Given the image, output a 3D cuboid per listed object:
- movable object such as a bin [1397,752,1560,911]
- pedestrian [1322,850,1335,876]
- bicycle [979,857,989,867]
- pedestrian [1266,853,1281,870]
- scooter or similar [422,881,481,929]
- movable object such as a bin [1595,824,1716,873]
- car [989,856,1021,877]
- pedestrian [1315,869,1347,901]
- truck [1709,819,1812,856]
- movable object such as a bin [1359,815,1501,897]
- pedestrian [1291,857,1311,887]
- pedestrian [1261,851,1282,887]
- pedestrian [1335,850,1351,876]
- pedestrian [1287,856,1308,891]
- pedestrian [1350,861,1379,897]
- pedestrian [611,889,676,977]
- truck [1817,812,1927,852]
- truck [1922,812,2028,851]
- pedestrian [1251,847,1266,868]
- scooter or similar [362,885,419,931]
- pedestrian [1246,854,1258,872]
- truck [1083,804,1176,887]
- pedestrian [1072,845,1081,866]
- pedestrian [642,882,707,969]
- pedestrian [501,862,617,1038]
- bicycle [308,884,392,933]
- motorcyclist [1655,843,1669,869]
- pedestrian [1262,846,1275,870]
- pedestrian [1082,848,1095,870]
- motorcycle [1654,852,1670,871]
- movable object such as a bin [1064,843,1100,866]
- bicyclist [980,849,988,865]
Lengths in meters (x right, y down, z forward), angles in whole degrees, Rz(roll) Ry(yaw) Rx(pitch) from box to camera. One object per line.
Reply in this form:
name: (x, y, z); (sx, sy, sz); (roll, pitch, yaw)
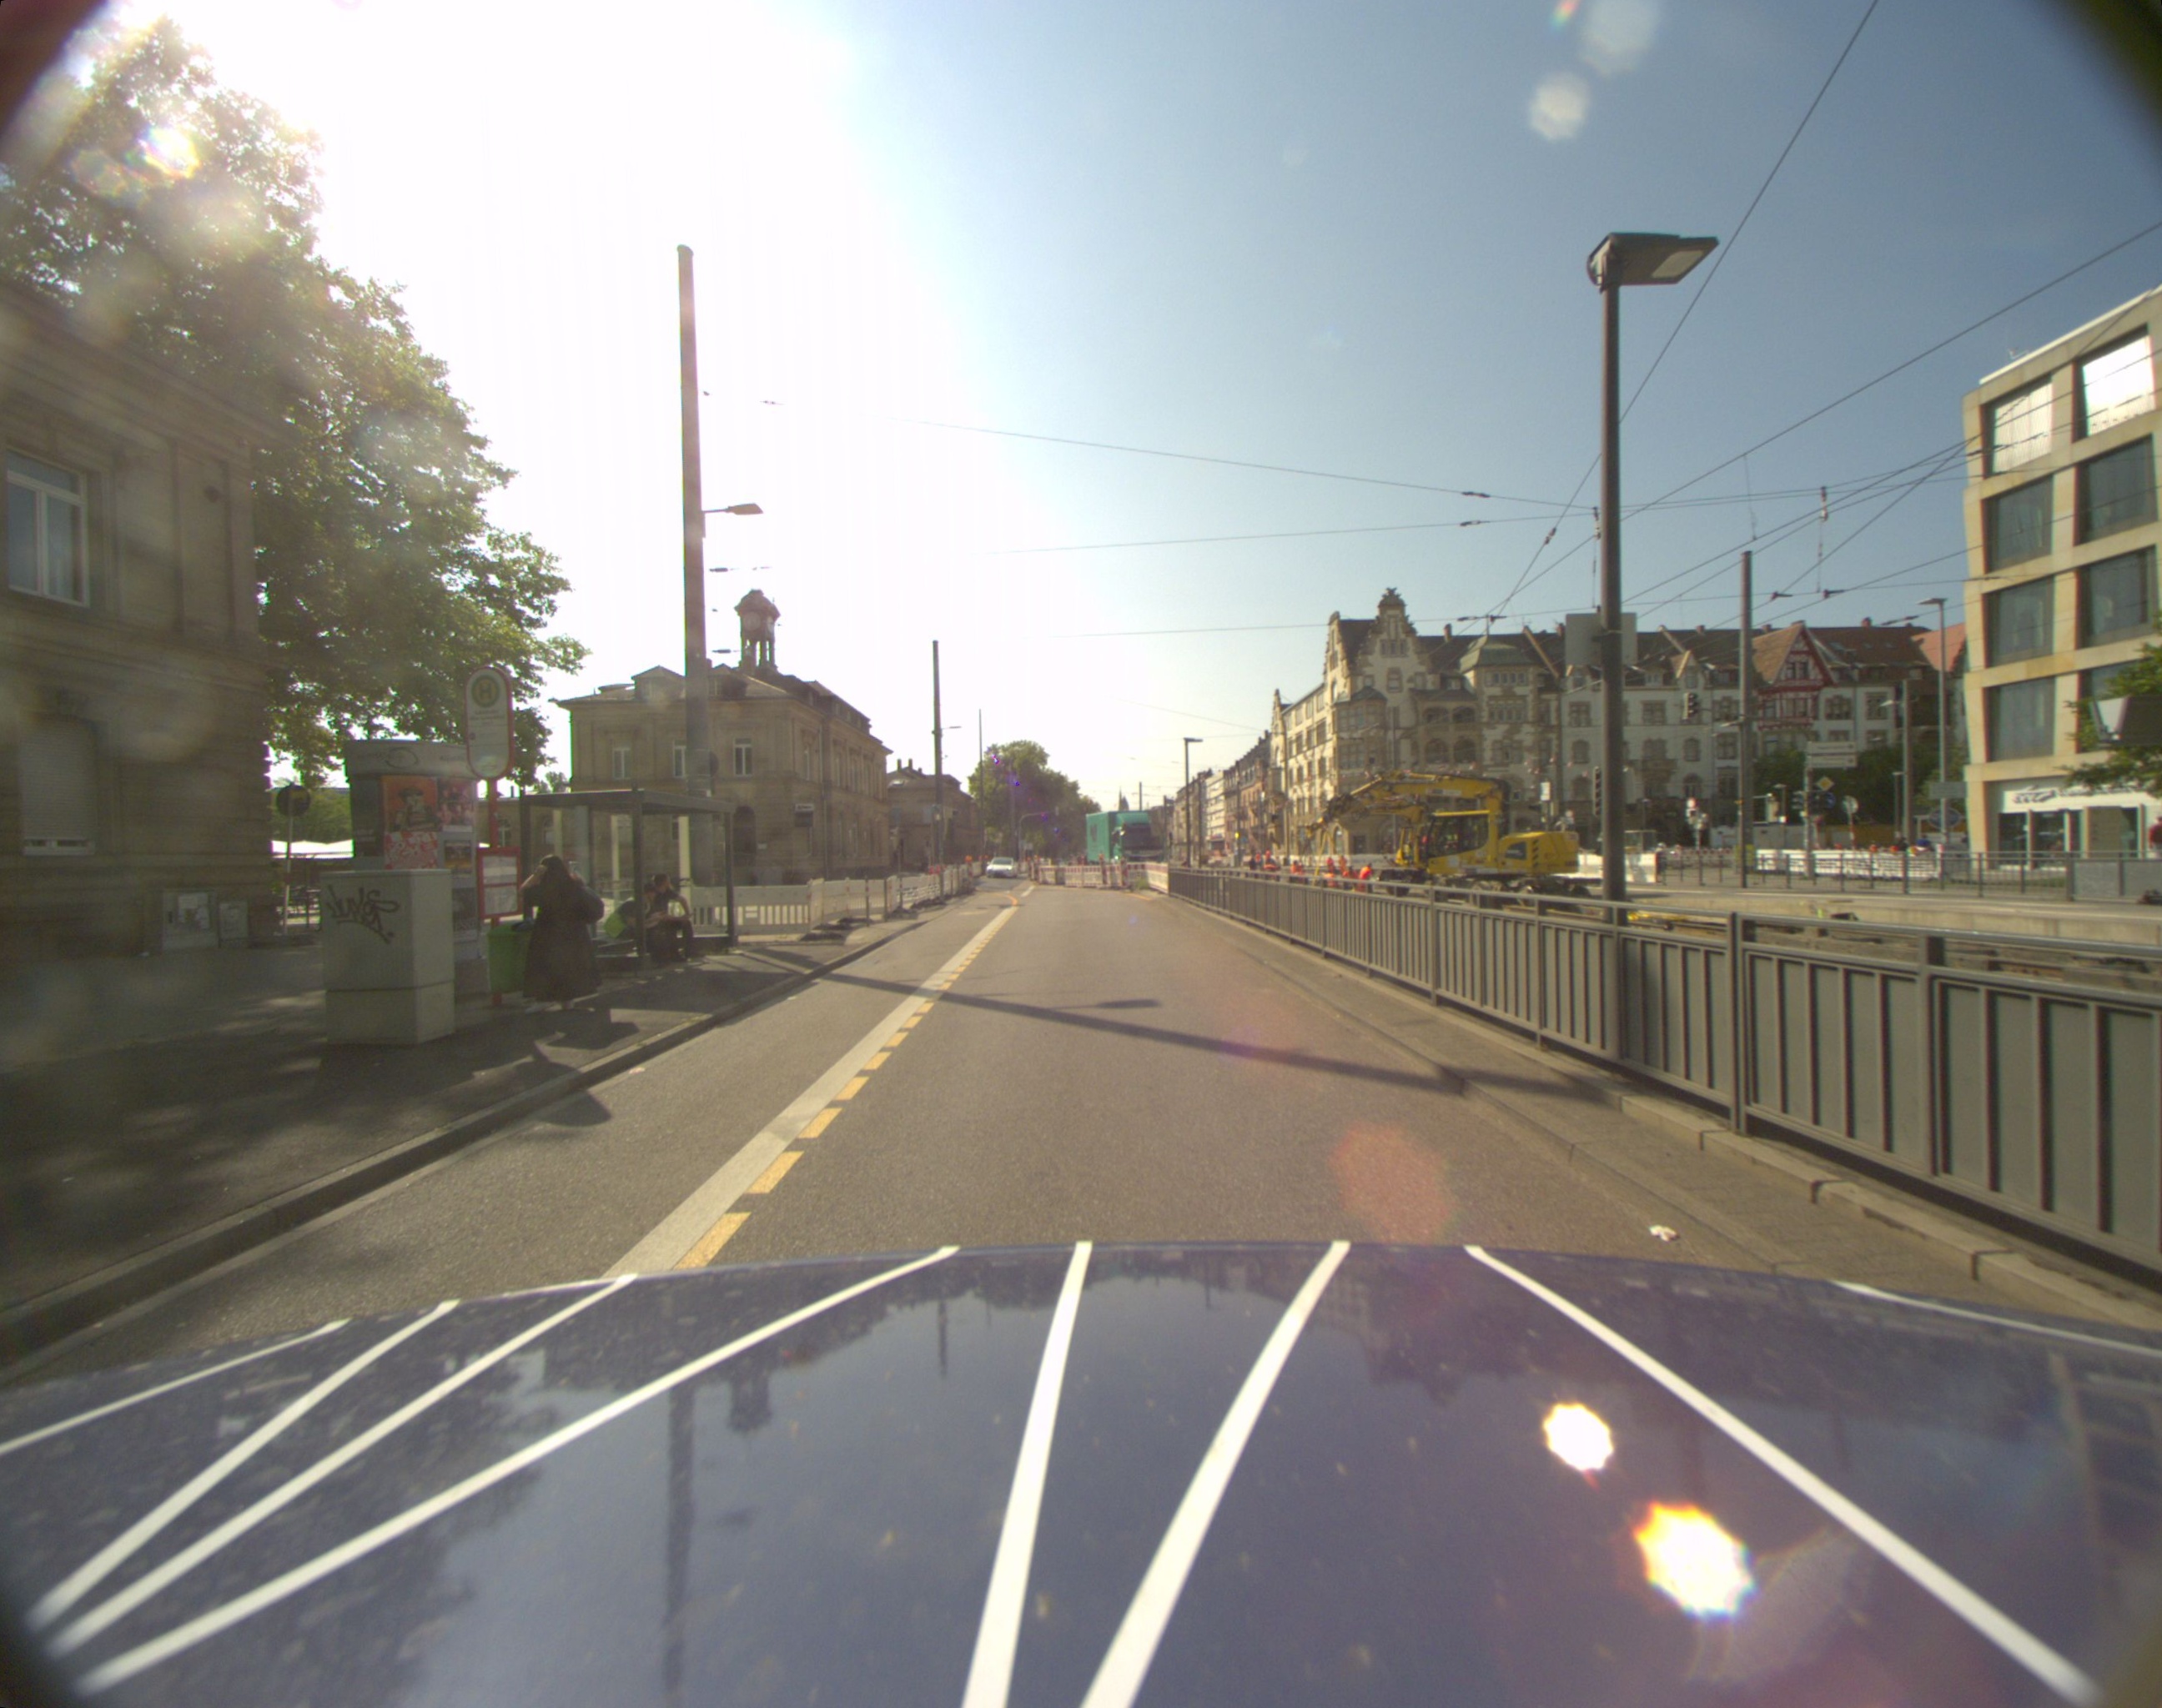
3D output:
movable object such as a bin: (12.323, -0.626, 23.992); (2.994, 4.527, 4.212); (-1, 0, 2)
pedestrian: (16.152, 0.572, 49.608); (0.740, 1.692, 0.760); (-1, 1, 19)
bicycle: (-10.304, 0.887, 81.029); (0.743, 1.026, 2.132); (-1, 0, 1)
pedestrian: (14.214, 0.546, 56.155); (0.732, 1.177, 0.866); (2, 2, -7)
scooter or similar: (-16.229, 1.300, 19.624); (0.409, 1.159, 1.226); (-1, 0, 5)
movable object such as a bin: (35.342, -0.344, 46.862); (5.515, 2.774, 2.490); (-2, 2, 1)
car: (-5.455, 0.867, 54.737); (1.844, 1.451, 4.000); (-1, 0, 1)
pedestrian: (7.825, 0.971, 23.774); (0.702, 0.949, 0.882); (-1, 0, 1)
truck: (54.700, -1.287, 61.249); (6.037, 2.798, 2.691); (-1, 0, -2)
movable object such as a bin: (14.769, 0.068, 32.364); (4.128, 3.204, 3.563); (-1, 0, -15)
pedestrian: (8.909, 0.732, 30.748); (0.701, 1.171, 0.703); (-1, 0, 21)
pedestrian: (7.883, 0.621, 31.400); (0.741, 1.470, 0.704); (-1, 0, 22)
pedestrian: (17.031, 0.572, 49.425); (0.741, 1.692, 0.758); (-1, 1, -1)
pedestrian: (8.512, 0.759, 29.918); (0.701, 1.327, 0.838); (-1, 0, 21)
pedestrian: (9.240, 0.818, 24.754); (0.701, 1.148, 0.589); (-1, 0, 40)
pedestrian: (-6.260, 1.121, 10.903); (0.610, 1.211, 0.574); (0, 1, -2)
truck: (63.950, -1.738, 61.513); (6.353, 3.026, 2.630); (-1, 0, -3)
truck: (72.895, -1.811, 62.011); (6.353, 3.026, 2.238); (-1, 0, -3)
pedestrian: (13.133, 0.263, 56.172); (0.755, 1.547, 0.735); (-1, 1, -42)
scooter or similar: (-17.524, 1.370, 19.292); (1.095, 1.126, 0.312); (-1, 1, -3)
pedestrian: (11.950, 0.648, 53.191); (0.678, 1.239, 0.547); (-1, 1, -2)
truck: (2.240, -0.362, 39.341); (2.817, 3.766, 9.007); (0, 0, -9)
pedestrian: (-0.370, 0.115, 64.471); (0.720, 1.764, 0.465); (-1, 1, -5)
pedestrian: (-6.248, 1.075, 11.708); (0.610, 1.270, 0.759); (0, 1, -2)
pedestrian: (-5.199, 0.895, 7.630); (0.886, 1.616, 0.821); (-1, 0, -32)
bicycle: (-19.032, 1.395, 19.828); (0.499, 1.159, 1.629); (-1, 0, 5)
motorcyclist: (26.848, 0.093, 35.118); (0.429, 1.172, 0.517); (4, 3, 42)
pedestrian: (13.615, 0.276, 55.135); (0.752, 1.692, 0.678); (-1, 1, -1)
pedestrian: (0.637, 0.413, 64.426); (0.921, 1.830, 0.801); (-1, 1, -6)
motorcycle: (26.874, 0.340, 35.135); (0.429, 0.873, 1.638); (4, 2, 42)
movable object such as a bin: (0.105, 0.058, 82.912); (3.174, 2.395, 2.914); (1, 2, -16)
bicyclist: (-10.317, 0.311, 80.973); (0.736, 1.616, 0.853); (-1, 1, 1)
